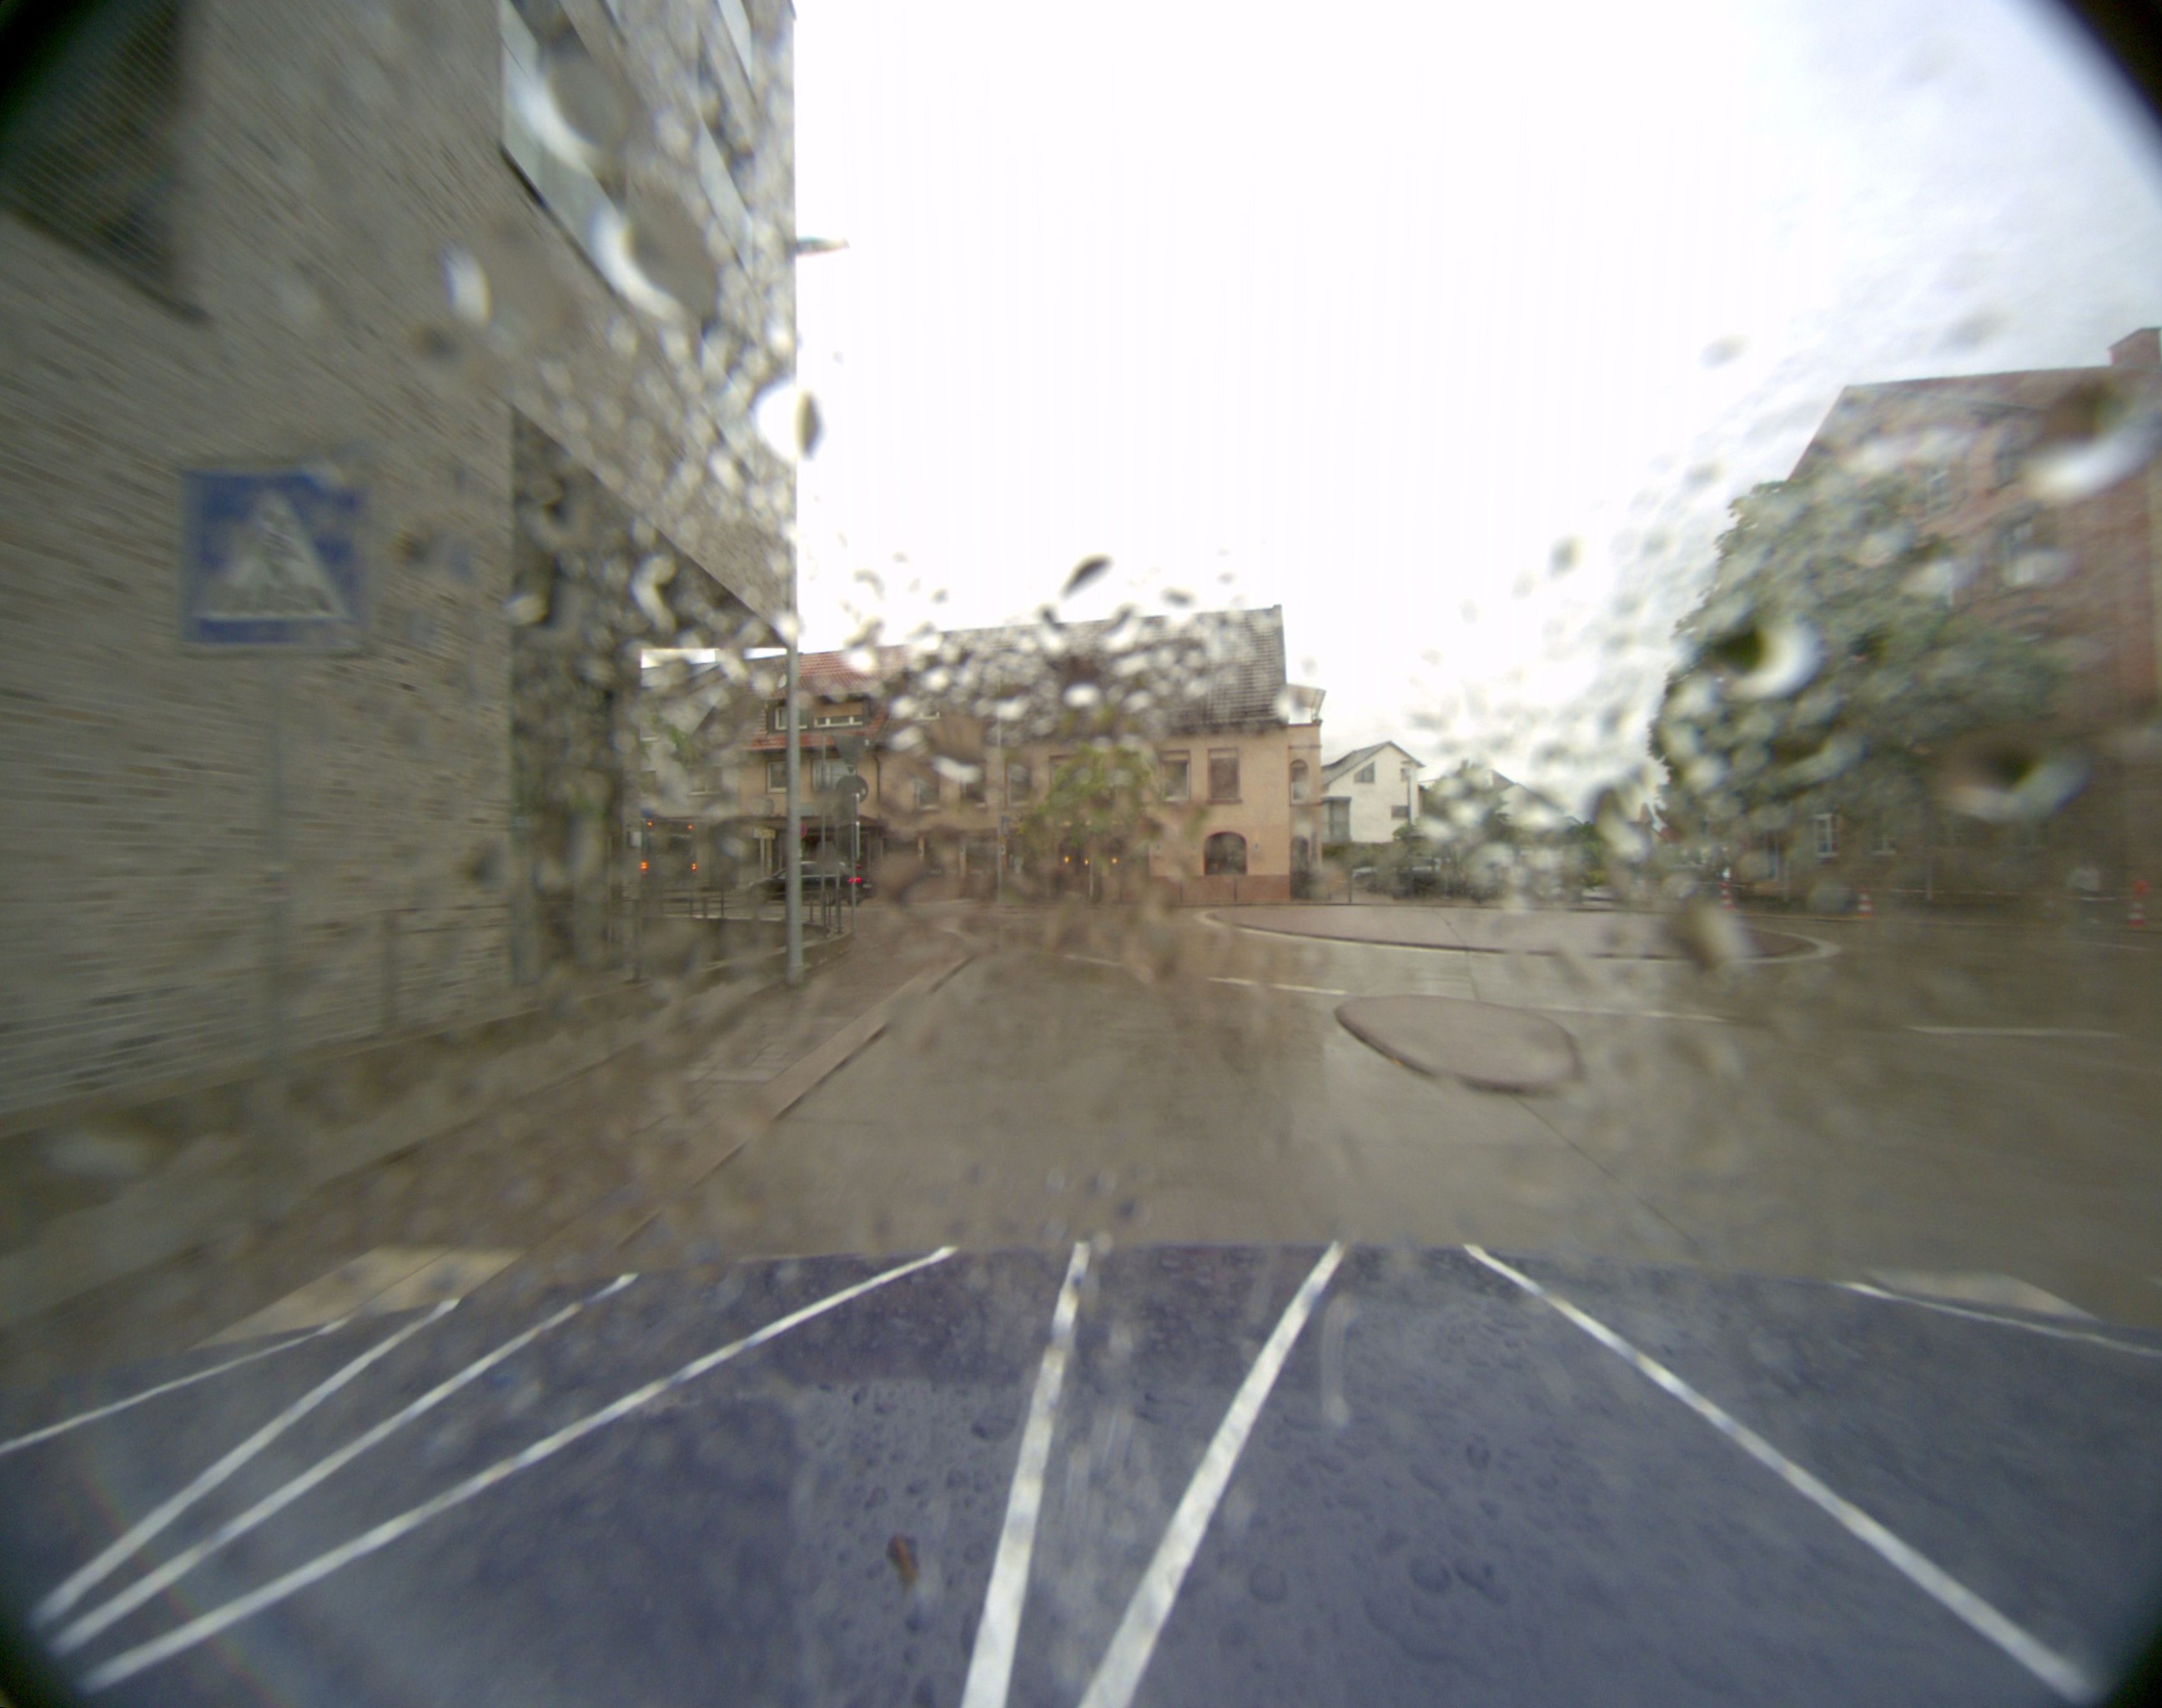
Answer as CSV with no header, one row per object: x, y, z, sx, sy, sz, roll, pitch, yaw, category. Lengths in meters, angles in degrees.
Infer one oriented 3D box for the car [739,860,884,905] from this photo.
-9.046,0.976,25.527,4.459,1.421,1.674,-1,-4,18,car

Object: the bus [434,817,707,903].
-20.212,0.209,29.968,10.922,3.061,2.736,0,0,18,bus

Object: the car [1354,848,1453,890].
16.433,0.742,38.962,4.478,2.002,2.003,1,0,19,car

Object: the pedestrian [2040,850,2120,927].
24.827,0.835,18.903,0.823,1.875,0.843,1,1,8,pedestrian
